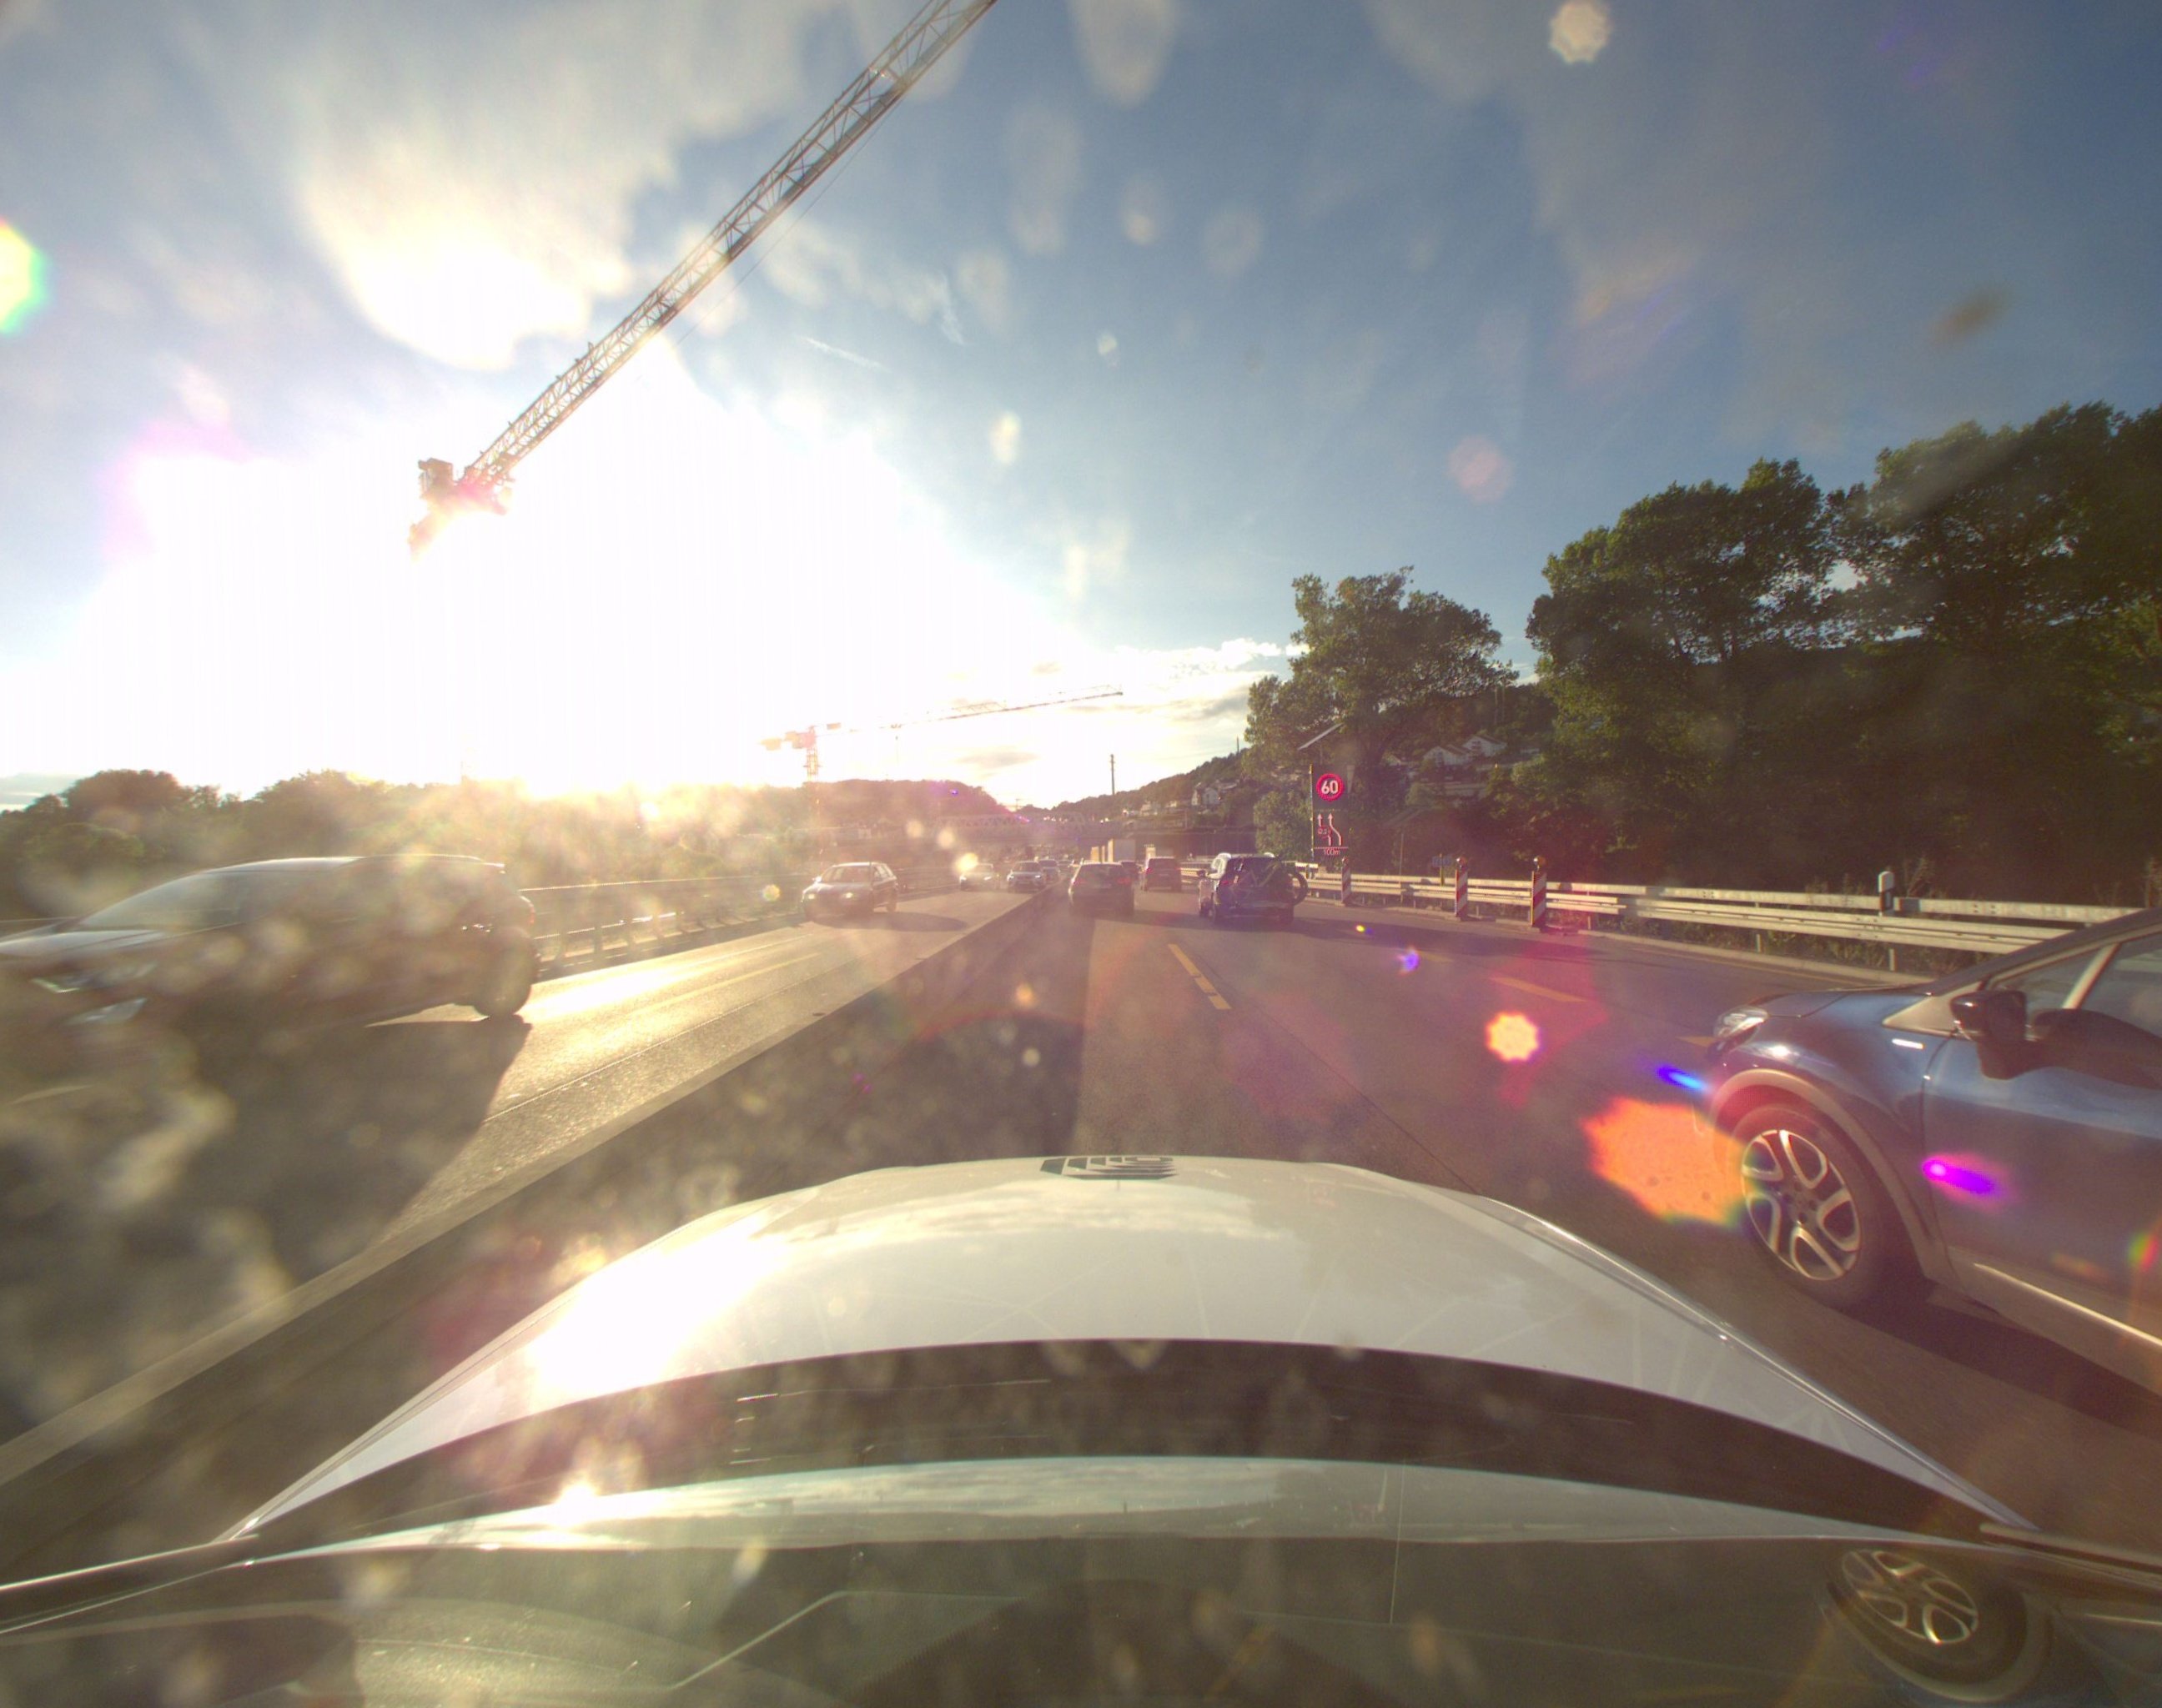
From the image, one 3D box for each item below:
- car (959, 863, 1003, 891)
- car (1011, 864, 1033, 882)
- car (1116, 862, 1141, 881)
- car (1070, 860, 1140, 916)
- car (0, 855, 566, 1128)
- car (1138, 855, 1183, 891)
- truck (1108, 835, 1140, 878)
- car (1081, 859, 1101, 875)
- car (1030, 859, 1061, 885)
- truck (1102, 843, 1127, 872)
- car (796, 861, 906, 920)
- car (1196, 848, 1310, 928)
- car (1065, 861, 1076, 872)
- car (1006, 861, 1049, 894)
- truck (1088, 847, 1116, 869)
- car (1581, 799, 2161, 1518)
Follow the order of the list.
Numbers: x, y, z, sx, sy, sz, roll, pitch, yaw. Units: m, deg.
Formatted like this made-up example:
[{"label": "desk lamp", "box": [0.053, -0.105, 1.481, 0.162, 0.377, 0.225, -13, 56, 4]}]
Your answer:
[{"label": "car", "box": [-5.430, 1.253, 44.794, 1.768, 1.382, 4.532, -2, -1, 1]}, {"label": "car", "box": [-5.655, 1.826, 78.834, 1.704, 1.552, 4.001, -2, 0, 1]}, {"label": "car", "box": [3.857, 1.405, 66.475, 1.765, 1.552, 3.998, 0, 0, -1]}, {"label": "car", "box": [0.590, 0.872, 22.728, 1.765, 1.390, 3.998, 0, 0, -1]}, {"label": "car", "box": [-6.524, 0.835, 6.833, 1.774, 1.571, 4.001, -2, 0, 1]}, {"label": "car", "box": [3.825, 0.885, 39.800, 1.808, 1.632, 4.410, -1, 0, 0]}, {"label": "truck", "box": [4.924, 0.099, 95.737, 3.373, 4.497, 15.275, 0, 2, 2]}, {"label": "car", "box": [0.946, 1.196, 77.448, 1.760, 1.486, 3.997, 0, 0, -1]}, {"label": "car", "box": [-2.497, 1.295, 58.688, 1.987, 1.759, 4.660, -1, -1, 0]}, {"label": "truck", "box": [5.517, 0.445, 136.765, 3.877, 4.498, 15.269, 0, 1, 1]}, {"label": "car", "box": [-6.294, 0.949, 22.831, 1.671, 1.422, 4.580, 0, 0, 1]}, {"label": "car", "box": [3.884, 0.717, 19.207, 1.867, 1.599, 4.969, -1, -1, 3]}, {"label": "car", "box": [-1.751, 2.115, 137.818, 1.832, 1.640, 3.999, -2, -1, 0]}, {"label": "car", "box": [-2.619, 1.119, 40.467, 1.799, 1.511, 4.000, -1, 0, 0]}, {"label": "truck", "box": [4.392, 0.694, 175.962, 3.888, 4.498, 13.809, 0, 1, -8]}, {"label": "car", "box": [3.265, 0.665, 1.884, 1.767, 1.586, 4.136, 0, 0, 1]}]
